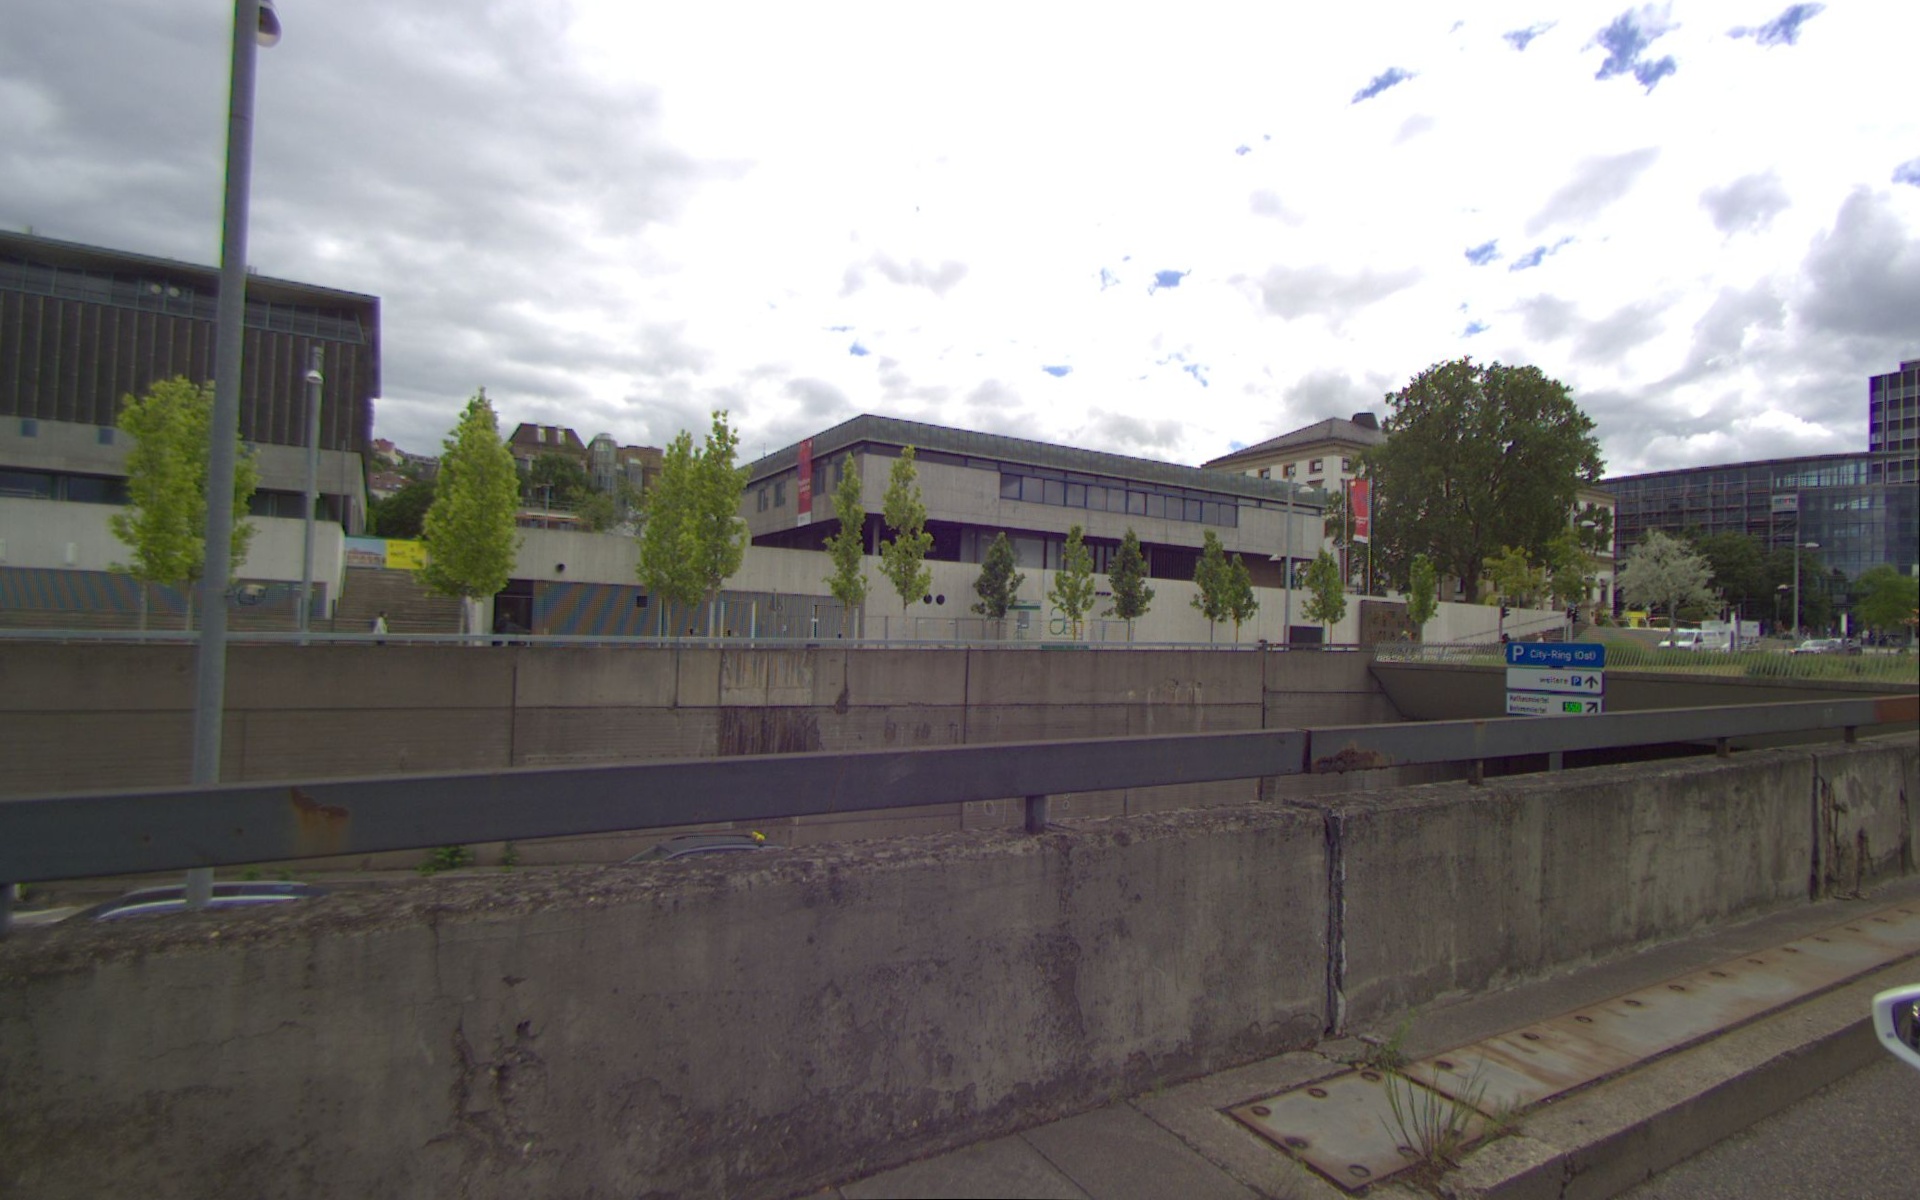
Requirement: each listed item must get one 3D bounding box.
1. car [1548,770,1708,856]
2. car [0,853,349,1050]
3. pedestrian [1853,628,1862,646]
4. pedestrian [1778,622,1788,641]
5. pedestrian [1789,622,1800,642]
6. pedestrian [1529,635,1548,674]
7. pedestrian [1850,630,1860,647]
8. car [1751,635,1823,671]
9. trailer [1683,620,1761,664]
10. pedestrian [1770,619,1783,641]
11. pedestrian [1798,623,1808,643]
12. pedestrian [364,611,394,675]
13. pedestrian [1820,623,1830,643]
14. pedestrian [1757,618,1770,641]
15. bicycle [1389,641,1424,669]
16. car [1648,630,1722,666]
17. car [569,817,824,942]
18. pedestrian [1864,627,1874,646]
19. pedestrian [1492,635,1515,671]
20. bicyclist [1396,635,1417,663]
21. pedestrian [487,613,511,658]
[{"bbox_3d":[25.028,7.863,37.601,5.866,2.341,2.607,3,0,-30],"label":"car"},{"bbox_3d":[-10.402,4.442,13.006,4.121,1.591,1.803,3,0,-30],"label":"car"},{"bbox_3d":[101.028,4.181,113.045,0.731,2.040,0.788,-1,-1,45],"label":"pedestrian"},{"bbox_3d":[85.708,3.286,104.643,0.729,2.040,0.917,-1,-1,37],"label":"pedestrian"},{"bbox_3d":[86.189,3.308,103.742,0.729,2.040,0.917,-1,-1,36],"label":"pedestrian"},{"bbox_3d":[30.812,2.911,53.466,0.848,2.040,0.627,-1,-1,31],"label":"pedestrian"},{"bbox_3d":[104.437,4.491,117.196,0.729,2.040,0.790,-1,-1,38],"label":"pedestrian"},{"bbox_3d":[51.410,3.253,62.432,4.635,2.040,1.985,0,0,-30],"label":"car"},{"bbox_3d":[48.937,2.637,64.497,5.443,2.640,2.028,1,1,-30],"label":"trailer"},{"bbox_3d":[79.419,2.907,97.649,0.783,2.040,0.735,0,-1,-29],"label":"pedestrian"},{"bbox_3d":[87.509,3.380,104.231,0.729,2.040,1.078,-1,-1,39],"label":"pedestrian"},{"bbox_3d":[-18.940,1.389,32.754,0.782,2.040,0.736,0,-1,-26],"label":"pedestrian"},{"bbox_3d":[89.483,3.372,103.867,0.731,2.040,0.788,-1,-1,45],"label":"pedestrian"},{"bbox_3d":[73.305,2.669,91.651,0.784,2.040,0.734,4,-2,-31],"label":"pedestrian"},{"bbox_3d":[26.264,3.251,59.116,2.165,1.556,0.722,3,0,-31],"label":"bicycle"},{"bbox_3d":[44.644,2.894,61.828,4.635,2.040,1.985,0,0,-30],"label":"car"},{"bbox_3d":[-5.149,5.363,19.725,4.345,1.789,2.153,6,-5,-30],"label":"car"},{"bbox_3d":[101.572,4.072,112.216,0.731,2.040,0.788,-1,-1,45],"label":"pedestrian"},{"bbox_3d":[31.019,3.006,57.315,0.782,2.040,0.831,0,-1,-26],"label":"pedestrian"},{"bbox_3d":[26.278,2.867,59.110,0.767,1.574,0.727,3,0,-31],"label":"bicyclist"},{"bbox_3d":[-17.309,1.334,37.693,0.783,1.664,0.736,0,-1,-27],"label":"pedestrian"}]
